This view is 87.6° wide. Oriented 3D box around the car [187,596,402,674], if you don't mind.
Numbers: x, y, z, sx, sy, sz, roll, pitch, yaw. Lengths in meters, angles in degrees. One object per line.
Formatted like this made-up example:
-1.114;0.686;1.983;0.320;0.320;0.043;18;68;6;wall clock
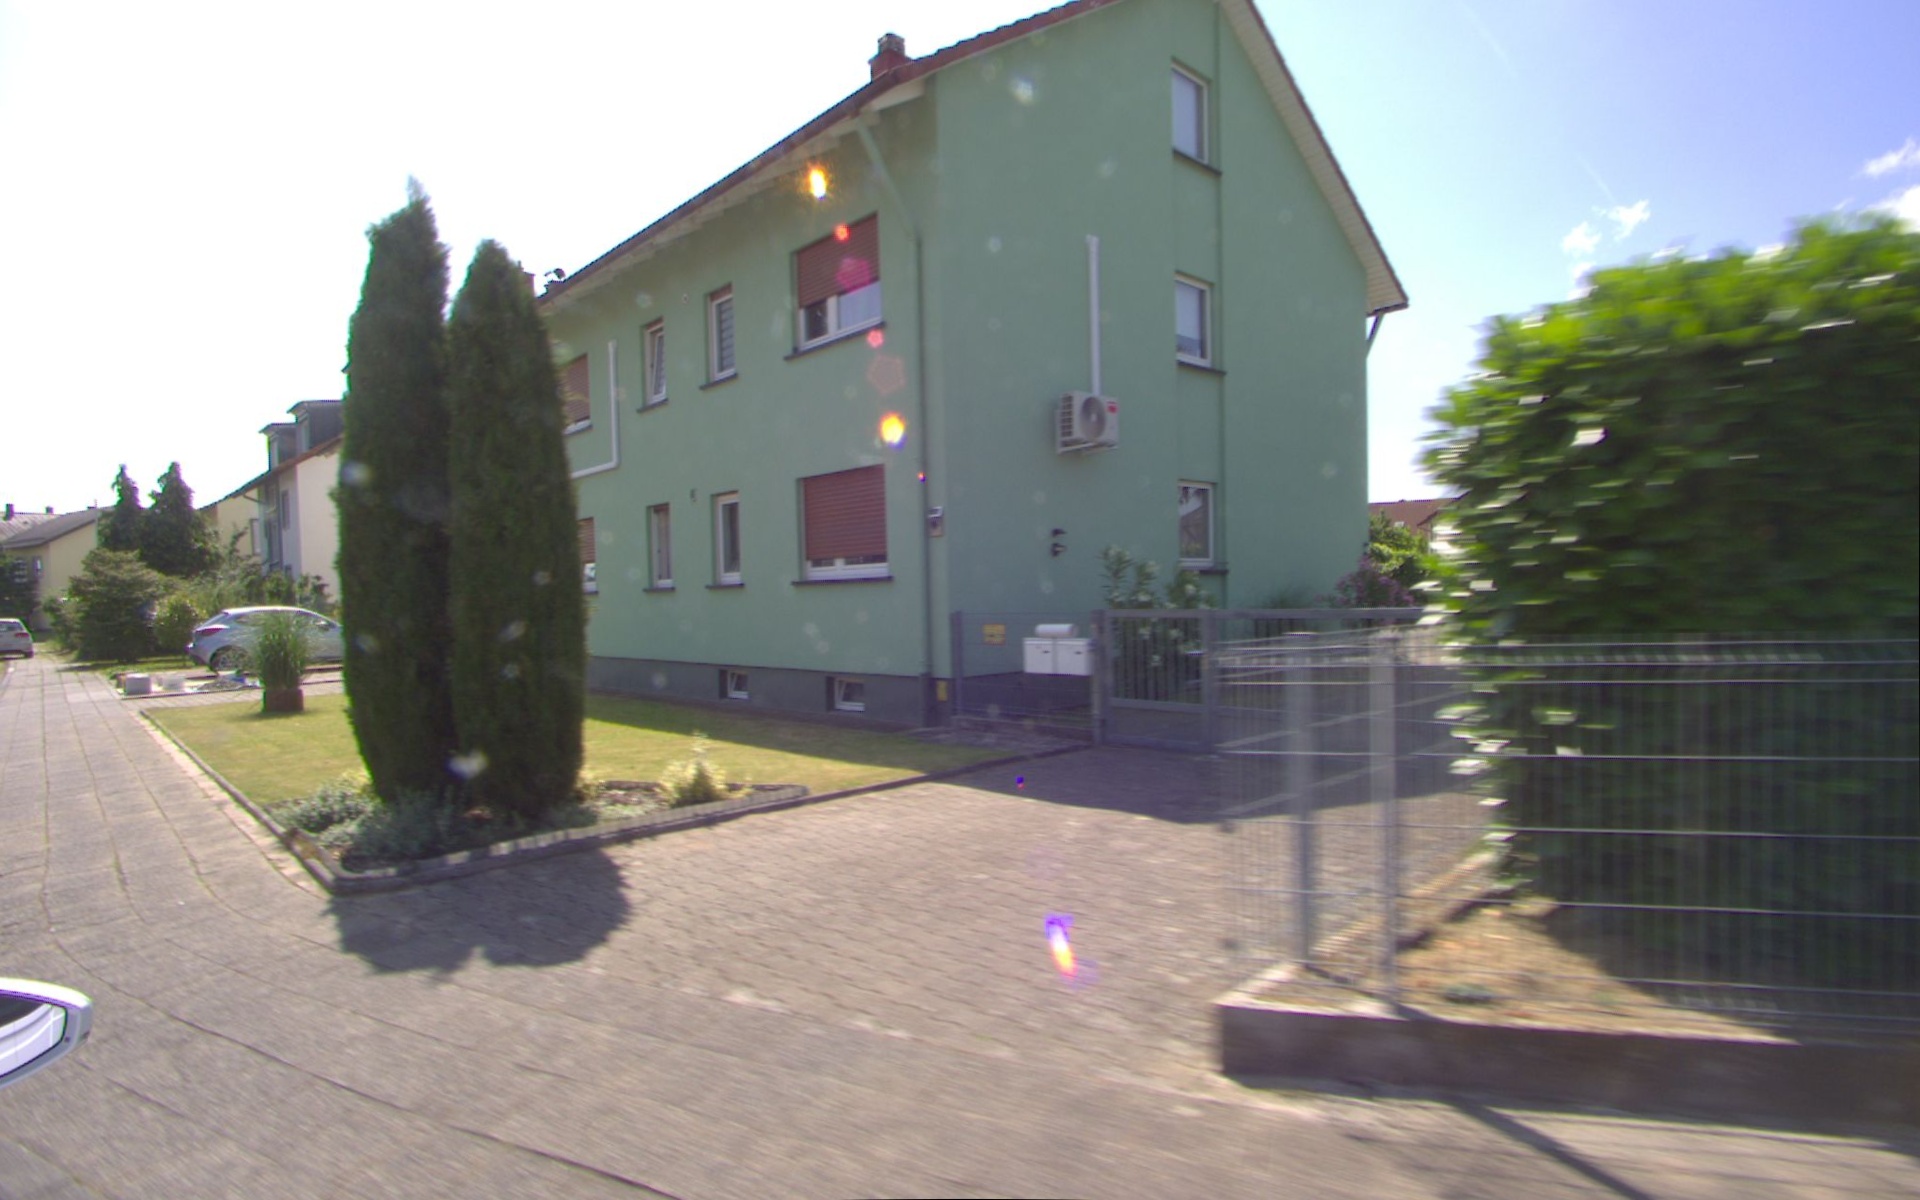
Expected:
-15.272;0.739;23.094;3.884;1.530;1.757;-3;2;-42;car

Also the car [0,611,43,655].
-35.716;1.216;37.513;3.959;1.515;1.797;-1;1;45;car

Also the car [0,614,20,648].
-44.948;1.440;46.424;3.959;1.515;1.797;-1;1;45;car
